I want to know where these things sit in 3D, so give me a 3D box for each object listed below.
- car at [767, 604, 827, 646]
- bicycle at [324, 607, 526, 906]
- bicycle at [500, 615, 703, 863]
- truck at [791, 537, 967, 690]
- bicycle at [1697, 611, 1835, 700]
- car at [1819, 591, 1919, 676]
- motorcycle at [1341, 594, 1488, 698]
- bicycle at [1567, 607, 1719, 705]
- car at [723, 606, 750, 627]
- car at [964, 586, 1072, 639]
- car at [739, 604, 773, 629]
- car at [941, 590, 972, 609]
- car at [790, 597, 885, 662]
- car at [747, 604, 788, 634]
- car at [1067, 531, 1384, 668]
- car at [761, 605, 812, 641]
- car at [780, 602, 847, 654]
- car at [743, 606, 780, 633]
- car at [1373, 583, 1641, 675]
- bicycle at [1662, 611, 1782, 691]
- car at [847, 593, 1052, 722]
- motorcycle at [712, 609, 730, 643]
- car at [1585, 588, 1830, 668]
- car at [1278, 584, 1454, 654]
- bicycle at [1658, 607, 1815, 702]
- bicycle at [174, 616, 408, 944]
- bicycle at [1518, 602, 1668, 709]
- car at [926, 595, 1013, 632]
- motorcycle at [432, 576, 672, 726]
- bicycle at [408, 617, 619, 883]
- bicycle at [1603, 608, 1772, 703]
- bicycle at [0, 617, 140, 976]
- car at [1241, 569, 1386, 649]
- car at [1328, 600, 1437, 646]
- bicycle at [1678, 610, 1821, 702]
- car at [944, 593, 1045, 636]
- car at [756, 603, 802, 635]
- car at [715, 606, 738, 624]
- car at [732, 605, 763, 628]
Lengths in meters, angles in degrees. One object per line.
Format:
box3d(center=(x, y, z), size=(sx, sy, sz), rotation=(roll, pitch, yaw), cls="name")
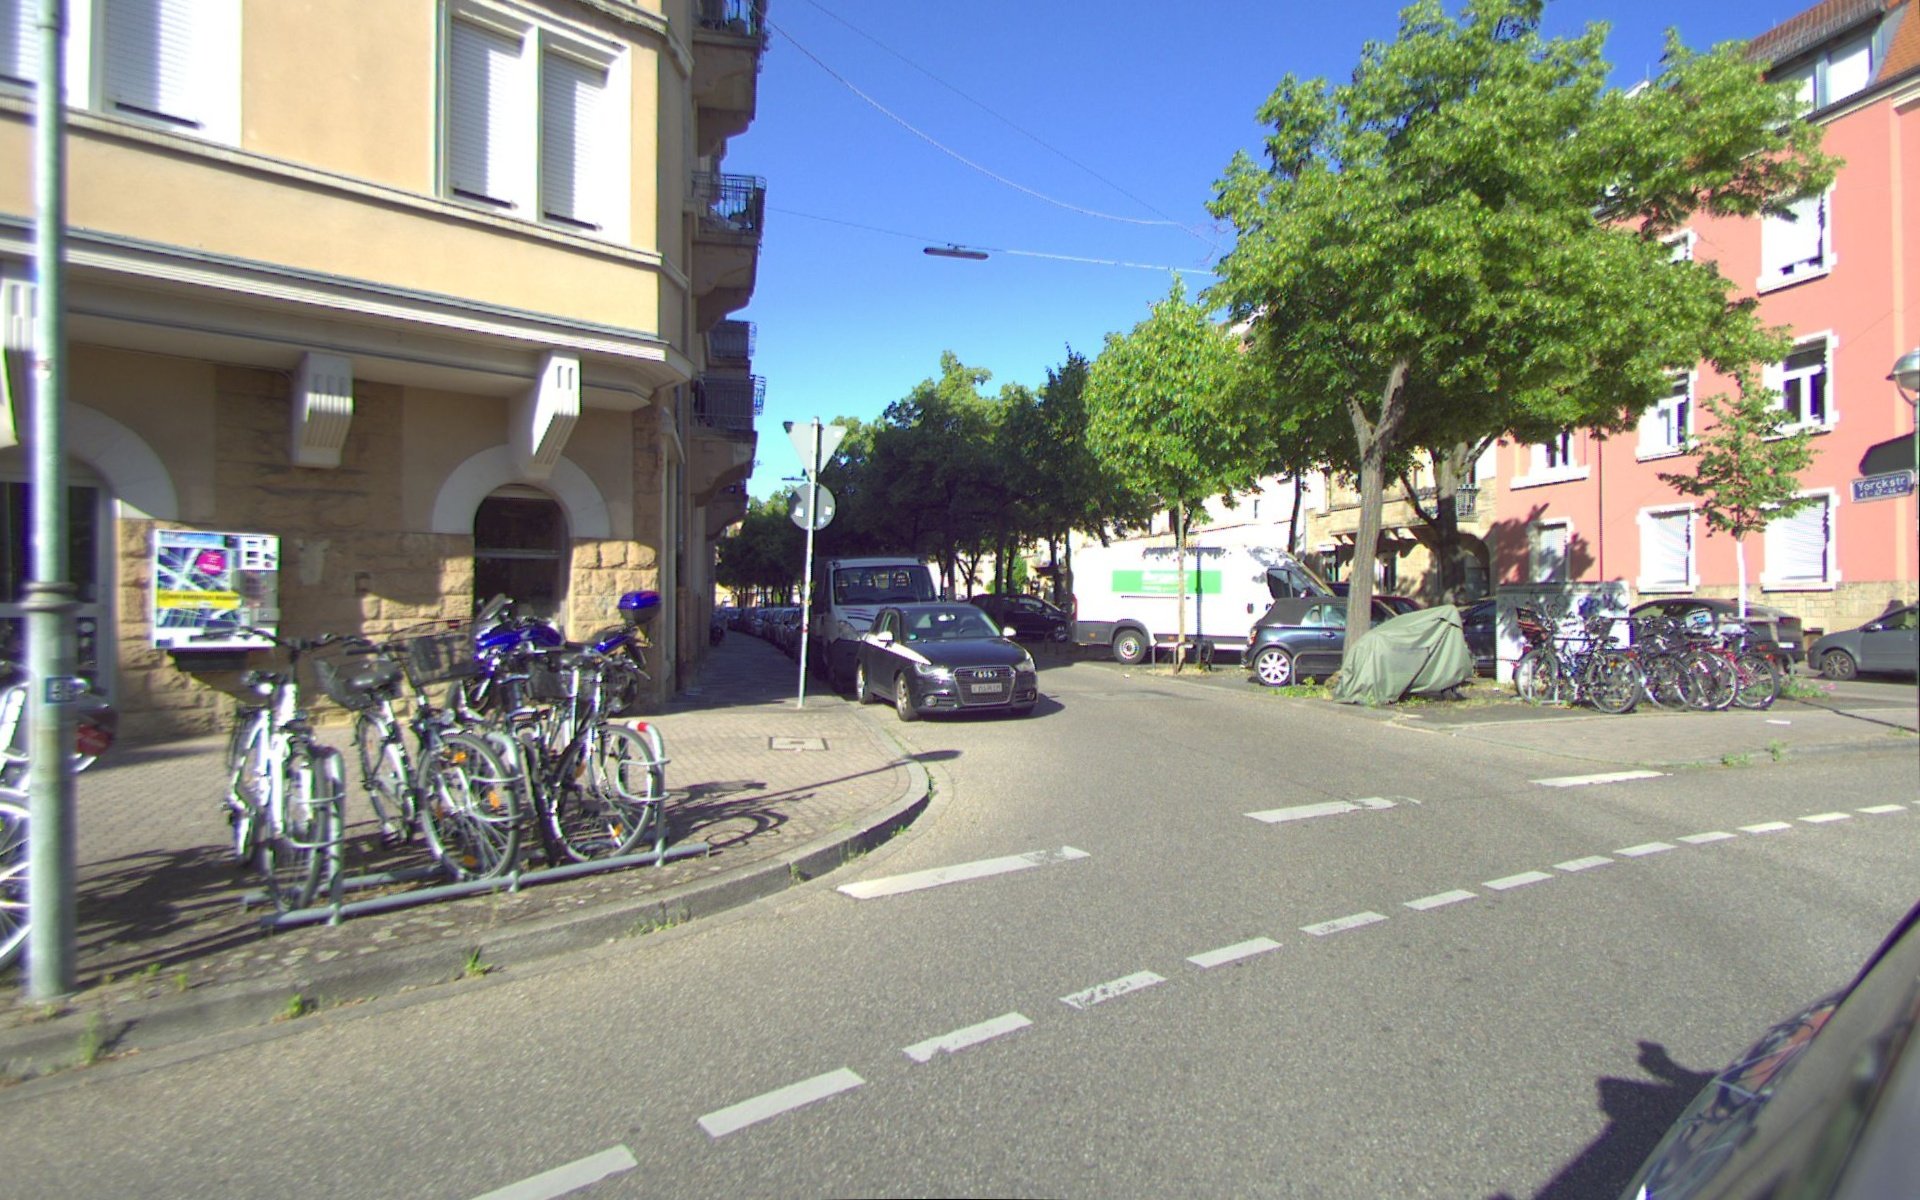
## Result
box3d(center=(-5.984, 0.877, 36.865), size=(1.653, 1.407, 3.930), rotation=(-1, 0, -17), cls="car")
box3d(center=(-2.637, 0.641, 4.903), size=(0.444, 1.206, 1.693), rotation=(0, 0, -43), cls="bicycle")
box3d(center=(-2.027, 0.667, 5.577), size=(0.475, 1.137, 1.716), rotation=(0, 0, -40), cls="bicycle")
box3d(center=(-1.771, 0.191, 18.918), size=(2.094, 2.321, 6.634), rotation=(-1, 0, -15), cls="truck")
box3d(center=(10.692, 0.702, 13.484), size=(0.410, 1.100, 1.529), rotation=(-1, 0, -10), cls="bicycle")
box3d(center=(17.395, 0.596, 17.520), size=(1.653, 1.465, 3.553), rotation=(1, 0, -13), cls="car")
box3d(center=(5.866, 0.587, 13.089), size=(1.676, 1.286, 0.539), rotation=(1, 0, -8), cls="motorcycle")
box3d(center=(8.476, 0.657, 12.641), size=(0.577, 1.141, 1.605), rotation=(-1, 0, -12), cls="bicycle")
box3d(center=(-16.577, 1.201, 74.927), size=(1.653, 1.407, 3.930), rotation=(-1, 0, -17), cls="car")
box3d(center=(2.015, 0.410, 34.517), size=(3.443, 1.686, 1.681), rotation=(1, -1, 13), cls="car")
box3d(center=(-12.316, 0.946, 60.881), size=(1.653, 1.407, 3.930), rotation=(-1, 0, -17), cls="car")
box3d(center=(-0.318, -0.019, 84.663), size=(1.762, 1.529, 4.007), rotation=(0, 0, -13), cls="car")
box3d(center=(-3.074, 0.664, 24.816), size=(1.653, 1.407, 3.930), rotation=(-1, 0, -17), cls="car")
box3d(center=(-9.890, 0.952, 51.909), size=(1.653, 1.407, 3.930), rotation=(-1, 0, -17), cls="car")
box3d(center=(5.637, -0.049, 21.830), size=(6.317, 2.633, 2.082), rotation=(1, -1, 28), cls="car")
box3d(center=(-7.292, 0.921, 42.300), size=(1.653, 1.407, 3.930), rotation=(-1, 0, -17), cls="car")
box3d(center=(-4.455, 0.776, 30.345), size=(1.653, 1.407, 4.010), rotation=(-1, 0, -13), cls="car")
box3d(center=(-11.114, 1.040, 56.554), size=(1.653, 1.407, 3.930), rotation=(-1, 0, -17), cls="car")
box3d(center=(9.624, 0.486, 18.104), size=(3.862, 1.465, 1.682), rotation=(1, -1, 12), cls="car")
box3d(center=(11.166, 0.714, 14.892), size=(0.410, 1.100, 1.529), rotation=(-1, 0, -10), cls="bicycle")
box3d(center=(-0.309, 0.635, 13.326), size=(1.653, 1.407, 3.930), rotation=(-1, 0, -17), cls="car")
box3d(center=(-8.171, 0.873, 34.530), size=(0.489, 1.121, 1.804), rotation=(-1, 0, -17), cls="motorcycle")
box3d(center=(16.290, 0.574, 22.370), size=(1.653, 1.582, 4.303), rotation=(1, 0, -13), cls="car")
box3d(center=(9.213, 0.430, 23.137), size=(3.320, 1.465, 1.687), rotation=(1, -1, 1), cls="car")
box3d(center=(9.802, 0.653, 12.847), size=(0.490, 1.116, 1.652), rotation=(-1, 0, -10), cls="bicycle")
box3d(center=(-3.030, 0.668, 4.511), size=(0.606, 1.160, 1.693), rotation=(0, 0, -43), cls="bicycle")
box3d(center=(7.729, 0.640, 12.449), size=(0.527, 1.208, 1.682), rotation=(-1, 0, -12), cls="bicycle")
box3d(center=(0.413, 0.571, 43.357), size=(3.443, 1.477, 1.681), rotation=(1, -1, 13), cls="car")
box3d(center=(-4.242, 0.513, 10.680), size=(2.213, 1.429, 0.698), rotation=(2, -1, -44), cls="motorcycle")
box3d(center=(-2.351, 0.670, 5.219), size=(0.475, 1.137, 1.693), rotation=(0, 0, -43), cls="bicycle")
box3d(center=(9.151, 0.662, 12.821), size=(0.643, 1.102, 1.733), rotation=(-1, 0, -12), cls="bicycle")
box3d(center=(-3.722, 0.662, 4.002), size=(0.626, 1.160, 1.696), rotation=(0, 0, -35), cls="bicycle")
box3d(center=(8.859, 0.214, 25.628), size=(3.337, 1.889, 1.679), rotation=(1, -1, 17), cls="car")
box3d(center=(13.635, 0.708, 32.846), size=(1.653, 1.399, 3.287), rotation=(1, -1, -13), cls="car")
box3d(center=(10.284, 0.694, 13.246), size=(0.410, 1.103, 1.576), rotation=(-1, 0, -10), cls="bicycle")
box3d(center=(1.277, 0.523, 37.034), size=(3.443, 1.477, 1.681), rotation=(1, -1, 13), cls="car")
box3d(center=(-8.578, 0.882, 47.793), size=(1.653, 1.407, 3.930), rotation=(-1, 0, -17), cls="car")
box3d(center=(-20.026, 1.256, 86.564), size=(1.653, 1.407, 3.930), rotation=(-1, 0, -17), cls="car")
box3d(center=(-13.637, 1.017, 64.836), size=(1.653, 1.407, 3.930), rotation=(-1, 0, -17), cls="car")
